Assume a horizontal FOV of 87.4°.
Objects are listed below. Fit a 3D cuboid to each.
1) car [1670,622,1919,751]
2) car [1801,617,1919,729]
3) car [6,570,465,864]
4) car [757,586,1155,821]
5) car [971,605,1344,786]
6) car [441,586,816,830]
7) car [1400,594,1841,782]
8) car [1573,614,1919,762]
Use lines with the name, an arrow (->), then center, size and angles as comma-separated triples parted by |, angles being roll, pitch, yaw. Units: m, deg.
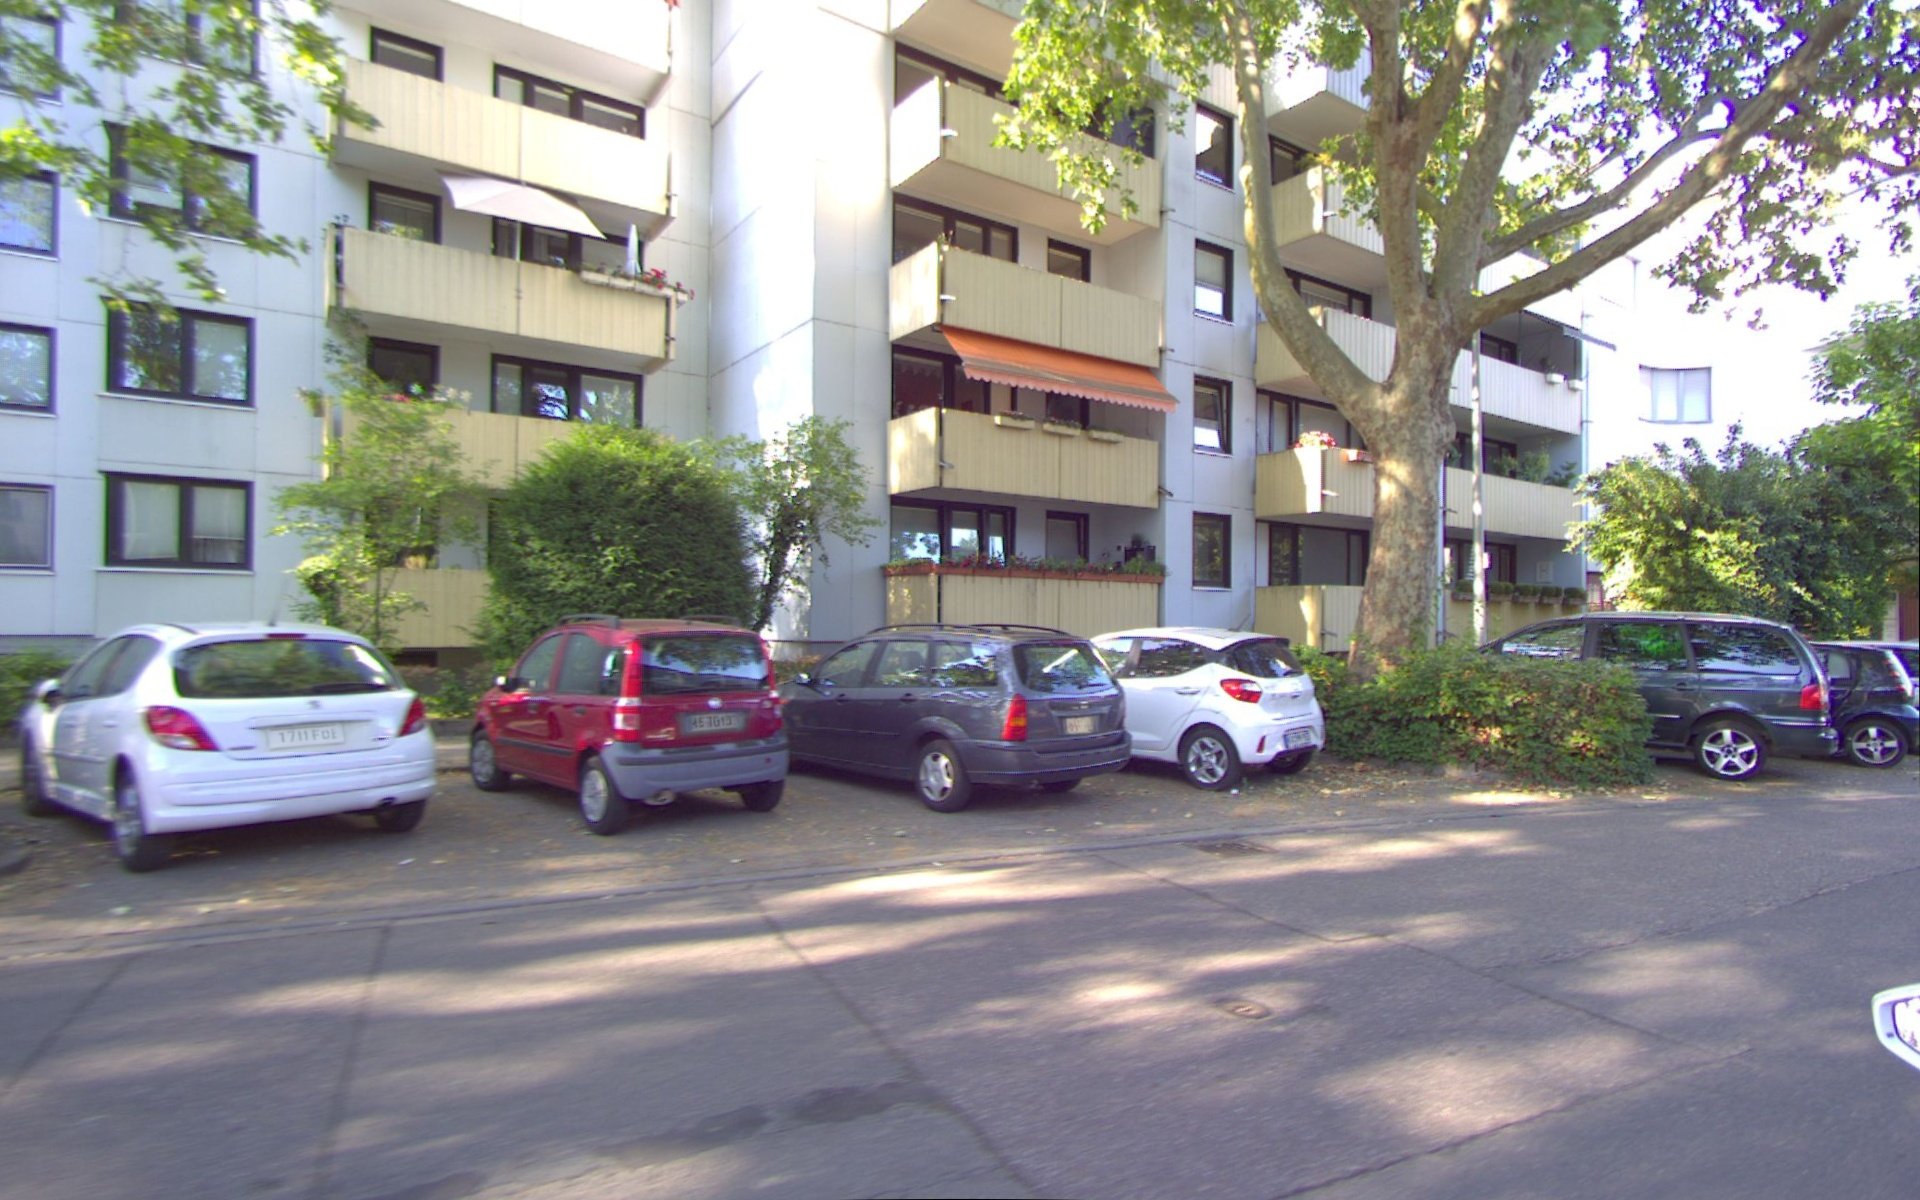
car -> 12.714, 1.192, 14.552 | 1.685, 1.581, 3.611 | 2, 0, -37
car -> 15.764, 1.187, 15.596 | 4.077, 1.662, 1.769 | 2, 0, 40
car -> -5.374, 0.634, 7.326 | 3.591, 1.581, 1.703 | 2, 0, 37
car -> -0.184, 0.776, 9.358 | 1.639, 1.683, 3.602 | 2, 0, -44
car -> 2.013, 0.866, 10.907 | 1.765, 1.514, 3.613 | 0, 1, -44
car -> -2.992, 0.733, 8.658 | 1.639, 1.581, 3.602 | 2, 0, -44
car -> 7.883, 0.902, 12.250 | 4.206, 1.799, 1.897 | 2, 0, 41
car -> 10.388, 1.062, 13.382 | 3.593, 1.581, 1.693 | 2, 0, 39
